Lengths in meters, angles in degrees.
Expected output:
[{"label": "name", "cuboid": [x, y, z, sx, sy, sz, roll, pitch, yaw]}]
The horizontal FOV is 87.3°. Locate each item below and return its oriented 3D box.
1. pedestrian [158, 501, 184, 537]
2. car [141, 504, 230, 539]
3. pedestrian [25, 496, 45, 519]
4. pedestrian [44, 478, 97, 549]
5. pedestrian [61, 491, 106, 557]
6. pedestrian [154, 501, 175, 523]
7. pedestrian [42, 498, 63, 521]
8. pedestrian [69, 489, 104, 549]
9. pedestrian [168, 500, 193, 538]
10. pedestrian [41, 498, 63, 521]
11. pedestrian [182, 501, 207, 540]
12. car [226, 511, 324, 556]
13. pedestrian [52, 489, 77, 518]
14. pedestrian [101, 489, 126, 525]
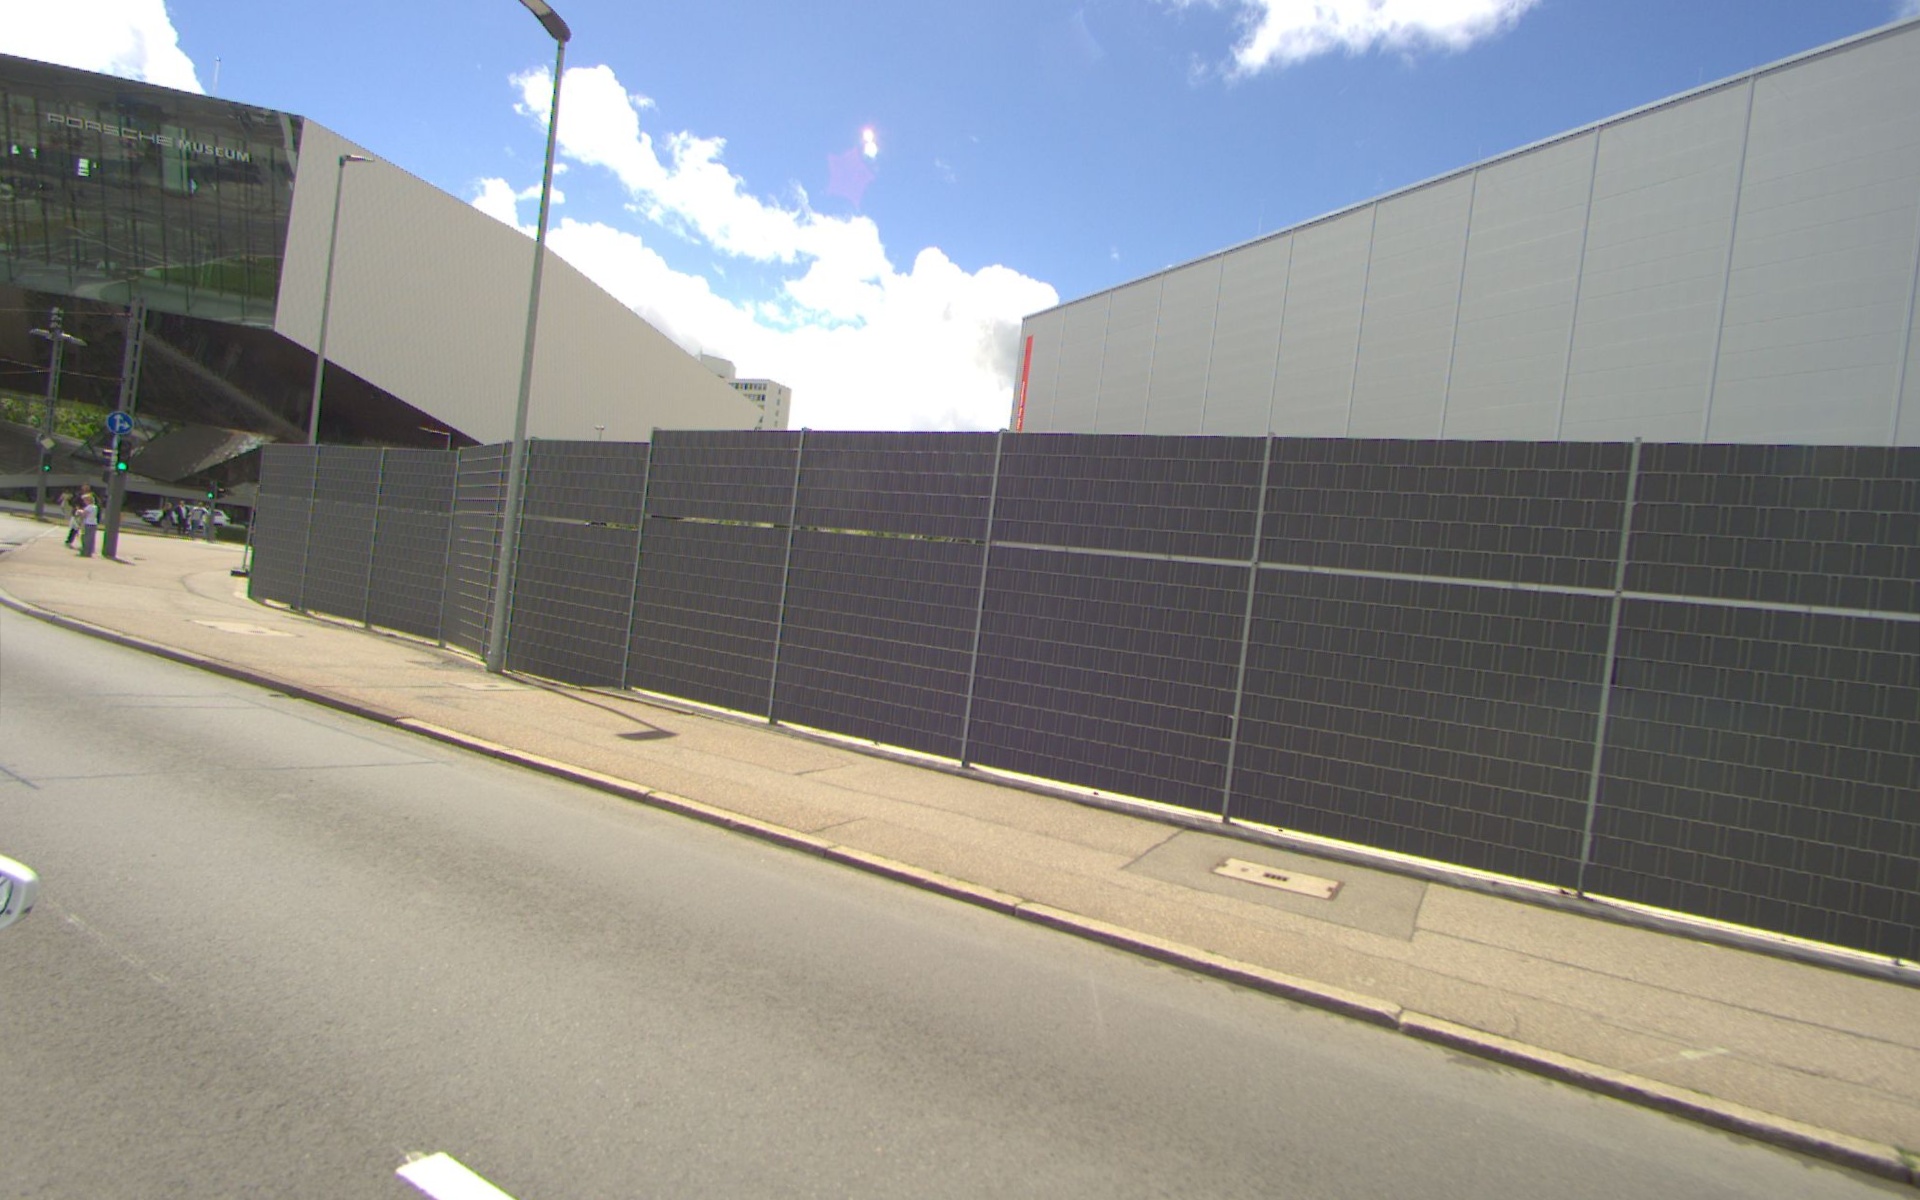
[{"label": "pedestrian", "cuboid": [-39.952, -4.092, 50.947, 0.610, 1.657, 0.672, 7, -1, -12]}, {"label": "car", "cuboid": [-47.848, -4.835, 62.205, 1.810, 1.569, 3.985, 6, 0, 36]}, {"label": "pedestrian", "cuboid": [-69.868, -6.979, 75.956, 0.822, 1.591, 0.916, 7, -1, -32]}, {"label": "pedestrian", "cuboid": [-25.682, -2.484, 29.057, 0.778, 1.888, 0.662, 6, -1, 16]}, {"label": "pedestrian", "cuboid": [-23.068, -1.993, 26.480, 0.811, 1.627, 0.658, 6, -1, 41]}, {"label": "pedestrian", "cuboid": [-63.781, -7.081, 80.685, 0.906, 1.591, 0.831, 6, -1, 21]}, {"label": "pedestrian", "cuboid": [-68.226, -6.790, 75.634, 0.914, 1.591, 0.823, 7, -1, -33]}, {"label": "pedestrian", "cuboid": [-25.015, -2.324, 28.815, 0.652, 1.635, 0.464, 6, -1, 33]}, {"label": "pedestrian", "cuboid": [-40.024, -4.149, 51.646, 0.662, 1.816, 0.619, 7, -1, -13]}, {"label": "pedestrian", "cuboid": [-69.033, -6.858, 76.497, 0.913, 1.591, 0.825, 7, -1, -28]}, {"label": "pedestrian", "cuboid": [-39.896, -4.138, 52.440, 0.662, 1.869, 0.618, 7, -1, -15]}, {"label": "car", "cuboid": [-36.229, -3.463, 53.333, 1.962, 1.722, 4.005, 7, -2, 7]}, {"label": "pedestrian", "cuboid": [-52.424, -5.635, 58.902, 0.757, 1.514, 0.583, 7, -1, -2]}, {"label": "pedestrian", "cuboid": [-52.582, -5.774, 62.475, 0.951, 2.009, 1.364, 7, 1, -43]}]
